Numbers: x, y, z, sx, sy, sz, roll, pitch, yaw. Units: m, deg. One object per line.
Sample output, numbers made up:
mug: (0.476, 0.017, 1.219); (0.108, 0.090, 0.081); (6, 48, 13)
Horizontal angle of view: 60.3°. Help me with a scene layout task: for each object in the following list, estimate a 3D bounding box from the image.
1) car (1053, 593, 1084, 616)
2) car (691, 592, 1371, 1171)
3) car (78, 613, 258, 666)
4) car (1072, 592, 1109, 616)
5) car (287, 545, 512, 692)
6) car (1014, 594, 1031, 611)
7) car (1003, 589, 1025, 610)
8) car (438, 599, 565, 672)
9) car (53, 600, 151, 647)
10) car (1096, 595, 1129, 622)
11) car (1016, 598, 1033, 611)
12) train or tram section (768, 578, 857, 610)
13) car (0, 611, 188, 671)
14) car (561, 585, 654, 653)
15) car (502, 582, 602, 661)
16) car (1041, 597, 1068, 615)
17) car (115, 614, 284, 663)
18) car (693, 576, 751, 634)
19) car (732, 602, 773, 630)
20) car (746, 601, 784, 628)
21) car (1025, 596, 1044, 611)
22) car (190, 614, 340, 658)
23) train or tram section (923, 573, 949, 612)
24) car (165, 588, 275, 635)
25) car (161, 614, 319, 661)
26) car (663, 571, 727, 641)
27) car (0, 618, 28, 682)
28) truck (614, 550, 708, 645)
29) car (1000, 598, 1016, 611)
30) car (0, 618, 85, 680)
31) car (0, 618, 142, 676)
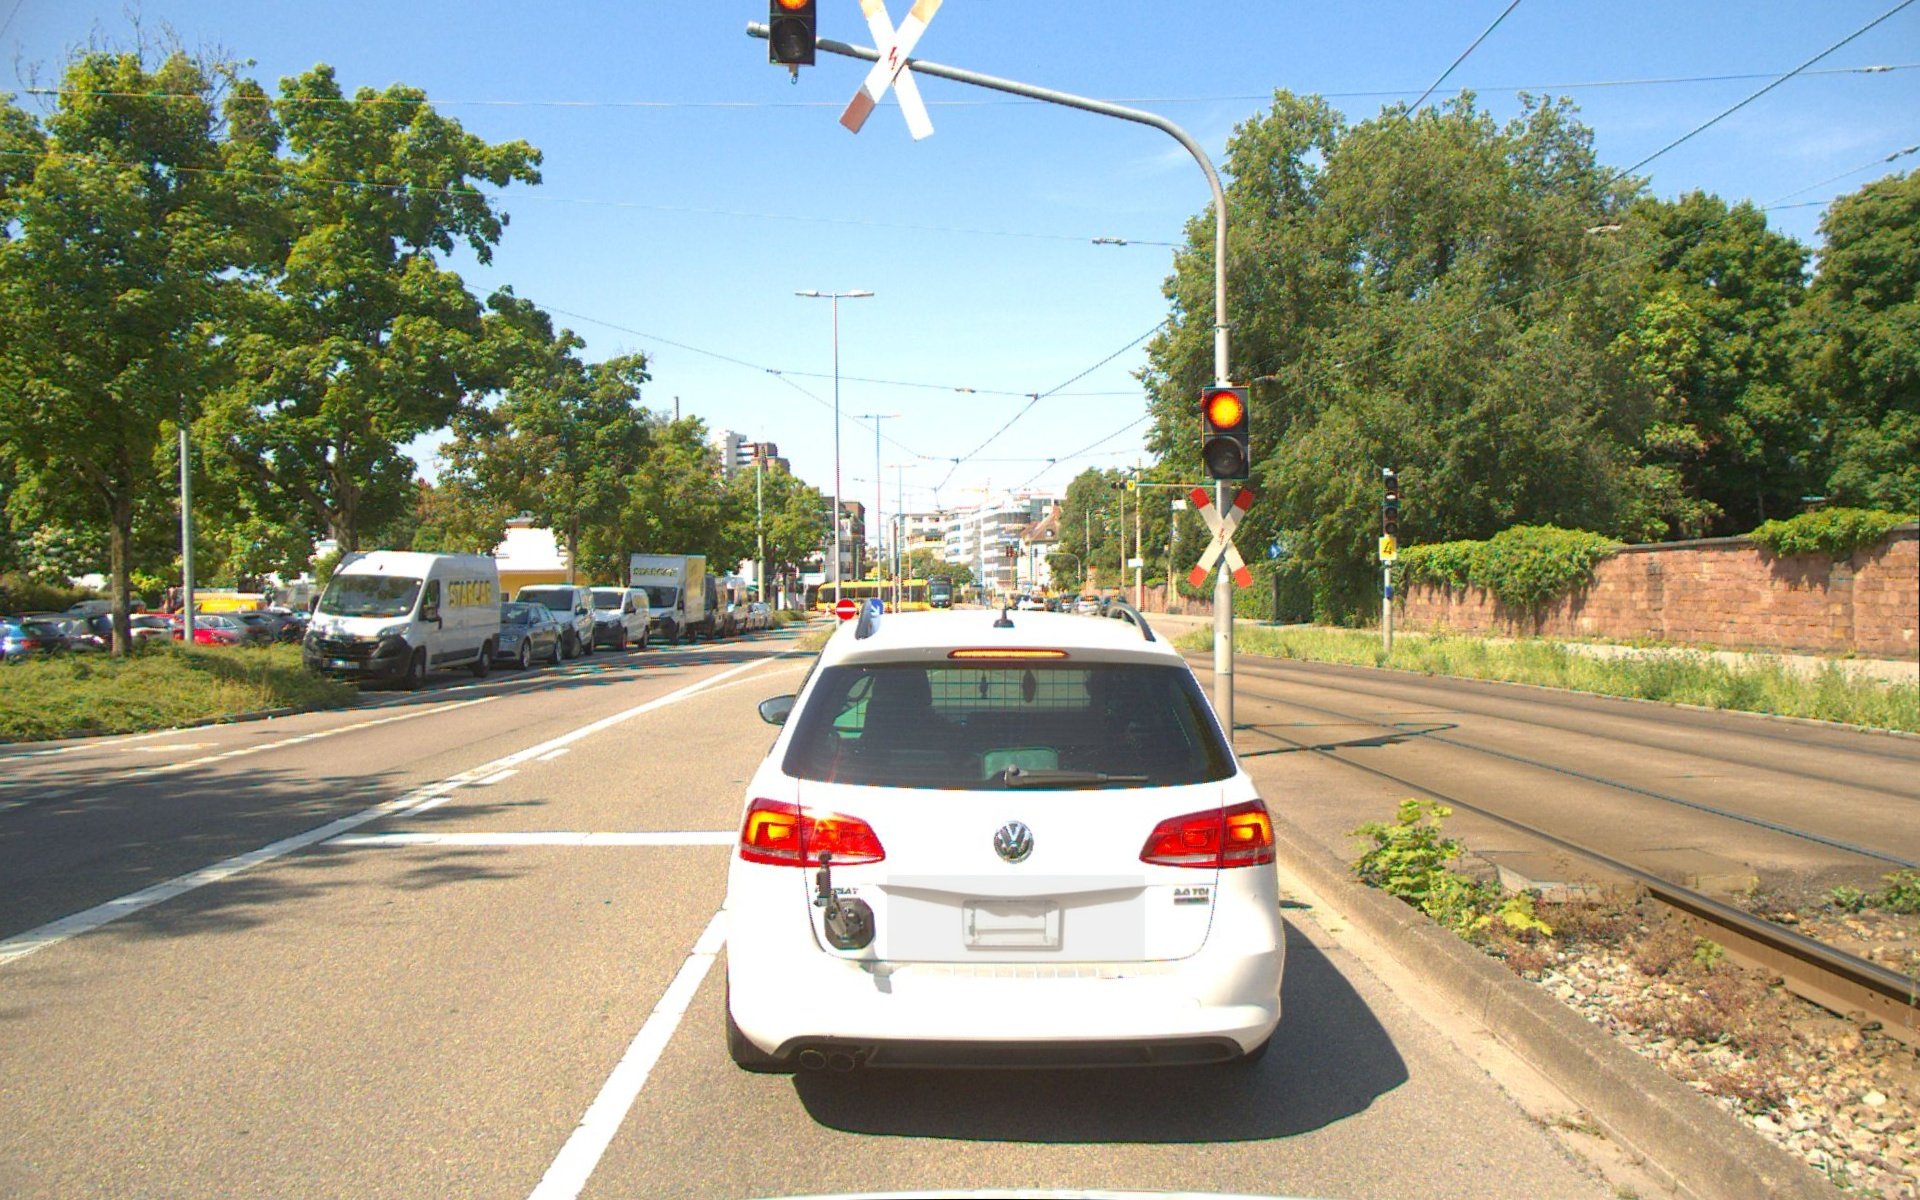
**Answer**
car: (7.819, 0.304, 119.143); (1.824, 1.539, 3.911); (1, 0, -2)
car: (0.134, 0.722, 6.222); (1.732, 1.471, 3.912); (1, 0, -2)
car: (-21.012, 1.036, 43.969); (3.904, 1.286, 1.772); (-1, 0, 2)
car: (8.234, 0.261, 104.893); (1.824, 1.441, 4.323); (1, 0, -2)
car: (-10.756, 0.302, 32.358); (2.016, 2.544, 6.309); (2, 0, 2)
car: (6.913, 0.278, 184.207); (1.657, 1.844, 3.453); (1, -1, -1)
car: (6.649, -0.076, 204.075); (2.413, 2.542, 5.908); (1, -1, -1)
car: (-10.569, 0.778, 38.445); (1.806, 1.543, 4.196); (-1, 0, -1)
car: (-36.997, 0.990, 71.336); (3.354, 1.909, 1.552); (-1, 0, -3)
car: (8.434, 0.471, 91.595); (1.709, 1.412, 3.915); (1, 0, 3)
car: (6.657, 0.479, 171.338); (1.549, 1.370, 3.453); (1, -1, -1)
train or tram section: (-15.773, -0.688, 175.777); (10.596, 3.310, 2.299); (1, -1, 37)
car: (-21.762, 1.025, 41.540); (3.904, 1.373, 1.772); (-1, 0, 2)
car: (-10.966, 0.546, 51.799); (1.806, 1.995, 5.133); (-1, 0, 0)
car: (-11.078, 0.545, 45.218); (1.807, 1.971, 5.189); (-1, 0, -5)
car: (7.646, 0.493, 133.892); (1.711, 1.432, 3.911); (1, 0, -3)
car: (-21.365, 1.073, 46.558); (3.904, 1.246, 1.772); (-1, 0, 2)
car: (-10.832, 0.209, 75.742); (1.806, 2.538, 5.856); (-1, 0, 0)
car: (-11.394, 0.872, 91.032); (1.806, 1.458, 4.037); (-1, 0, -1)
car: (-11.361, 0.834, 96.398); (1.744, 1.458, 4.037); (-1, 0, -1)
car: (6.903, 0.334, 153.815); (1.549, 1.370, 3.453); (1, -1, -1)
car: (-21.587, 1.114, 51.474); (3.904, 1.246, 1.772); (-1, 0, 2)
train or tram section: (-2.152, -0.636, 149.802); (2.254, 3.309, 11.272); (1, -1, 0)
car: (-34.156, 0.543, 76.476); (4.175, 2.049, 1.997); (1, -1, -7)
car: (-21.354, 1.102, 49.154); (3.904, 1.246, 1.772); (-1, 0, 2)
car: (-10.832, 0.212, 67.930); (1.806, 2.715, 5.003); (-1, 0, 0)
car: (-20.975, 1.046, 32.827); (3.907, 1.246, 1.770); (-1, 0, -3)
truck: (-10.781, -0.103, 60.163); (2.309, 3.177, 6.889); (-1, 0, -2)
car: (6.355, 0.635, 219.135); (1.953, 1.624, 3.999); (1, -1, 0)
car: (-21.299, 1.080, 35.640); (3.904, 1.246, 1.772); (-1, 0, 2)
car: (-21.630, 1.112, 38.861); (3.904, 1.246, 1.772); (-1, 0, 2)
